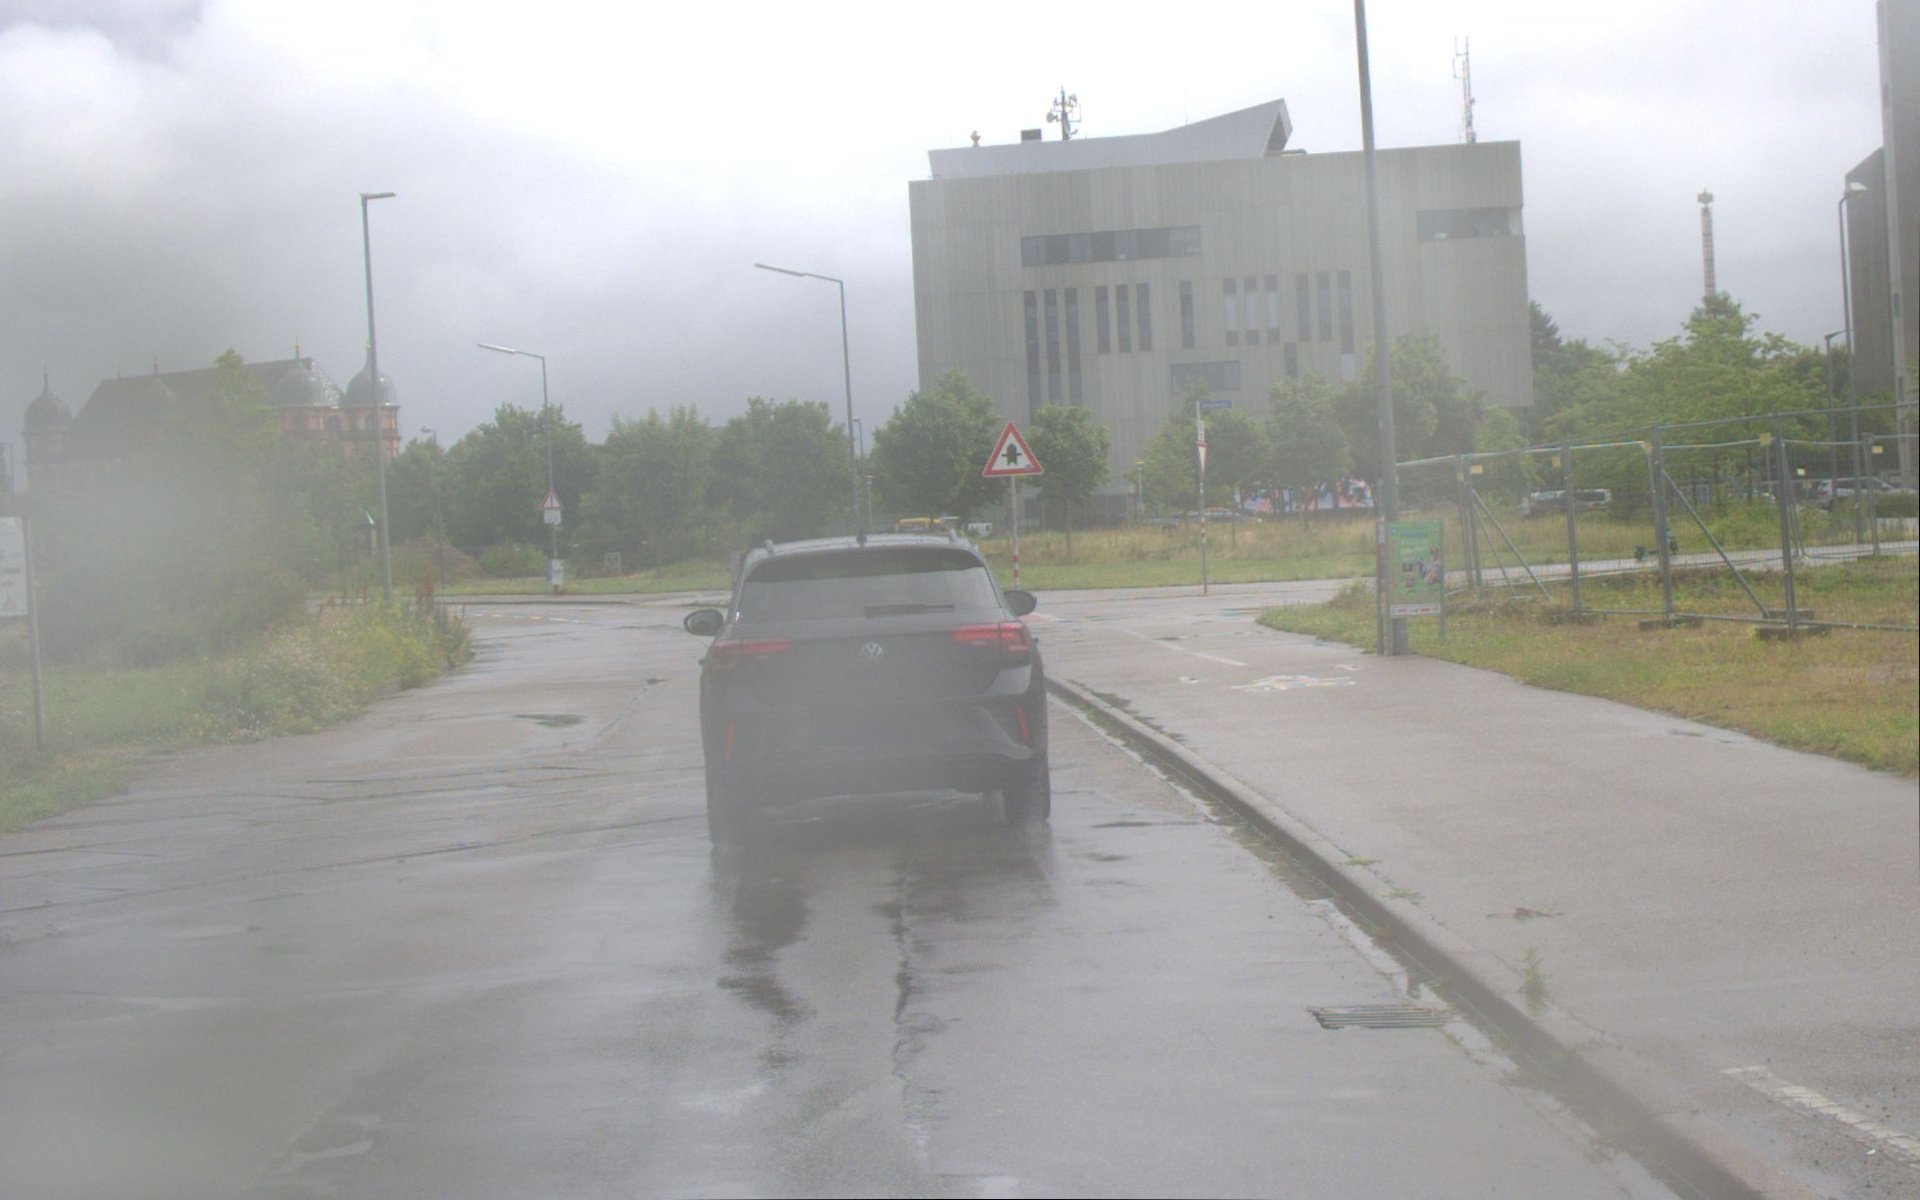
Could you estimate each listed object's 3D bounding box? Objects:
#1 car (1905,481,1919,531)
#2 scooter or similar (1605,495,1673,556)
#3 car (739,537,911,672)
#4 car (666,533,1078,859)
[{"bbox_3d":[32.012,-3.092,108.111,4.207,1.552,1.666,-4,1,11],"label":"car"},{"bbox_3d":[14.098,-1.551,71.371,1.280,1.183,0.503,-5,3,-22],"label":"scooter or similar"},{"bbox_3d":[-1.740,0.011,43.048,1.841,1.437,4.001,-5,2,-5],"label":"car"},{"bbox_3d":[-0.503,0.429,18.800,1.987,1.515,4.001,-1,2,-2],"label":"car"}]
